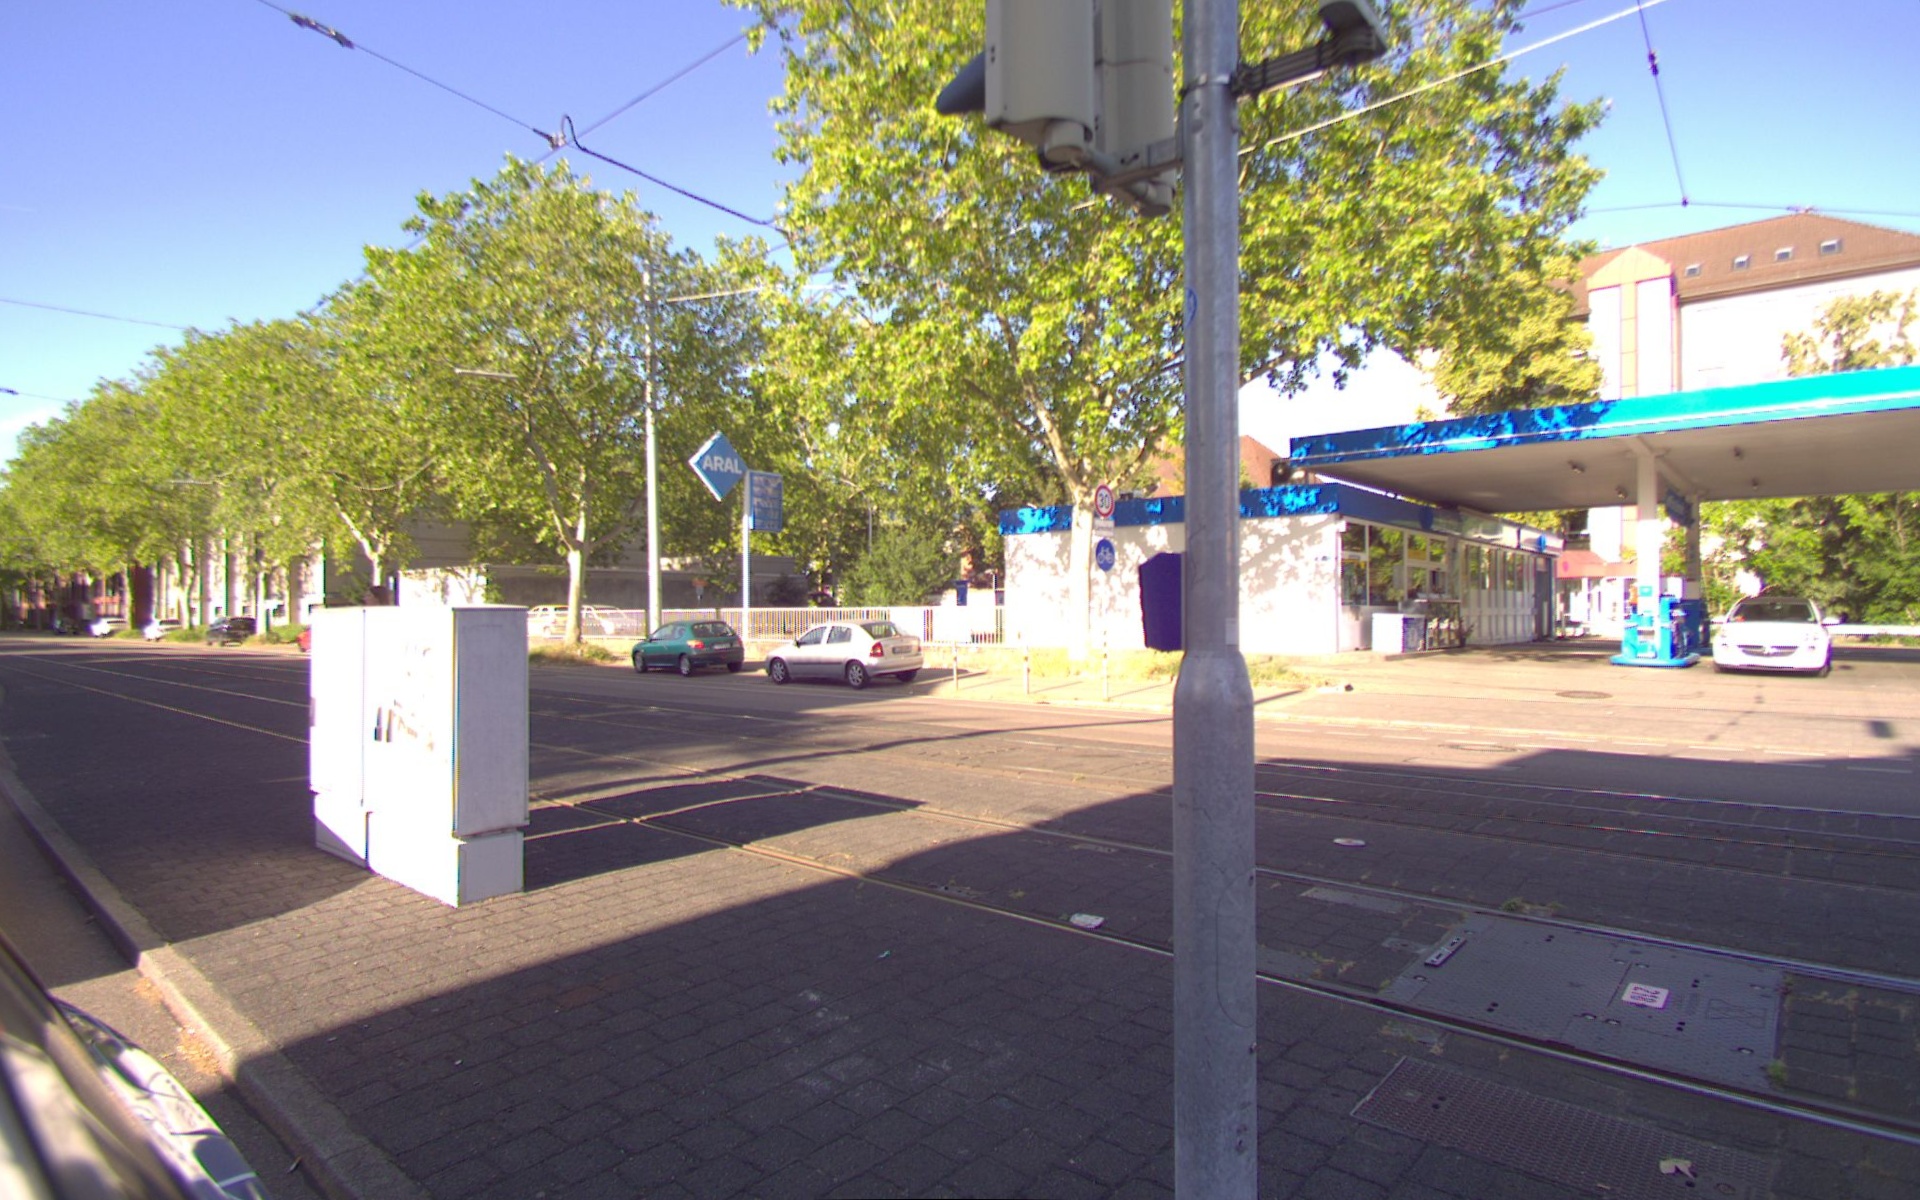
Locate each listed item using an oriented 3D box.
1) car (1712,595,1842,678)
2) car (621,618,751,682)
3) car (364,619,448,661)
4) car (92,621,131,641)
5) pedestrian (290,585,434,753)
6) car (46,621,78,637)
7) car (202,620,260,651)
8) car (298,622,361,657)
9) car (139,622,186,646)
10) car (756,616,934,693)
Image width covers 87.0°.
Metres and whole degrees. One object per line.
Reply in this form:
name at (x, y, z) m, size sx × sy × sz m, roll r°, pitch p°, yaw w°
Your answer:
car at (16.026, 0.678, 19.904) m, size 1.812 × 1.453 × 3.947 m, roll -1°, pitch -1°, yaw 39°
car at (-7.330, 1.277, 26.927) m, size 3.519 × 1.475 × 1.670 m, roll -1°, pitch 2°, yaw 43°
car at (-21.944, 1.551, 40.046) m, size 3.652 × 1.541 × 1.802 m, roll -1°, pitch -1°, yaw 41°
car at (-66.689, 2.401, 79.521) m, size 3.998 × 1.525 × 1.779 m, roll -1°, pitch -1°, yaw 41°
pedestrian at (-6.183, 0.690, 10.494) m, size 1.086 × 1.674 × 0.693 m, roll -1°, pitch 0°, yaw 9°
car at (-85.330, 2.730, 96.108) m, size 3.998 × 1.525 × 1.779 m, roll -1°, pitch -1°, yaw 41°
car at (-40.758, 1.953, 56.583) m, size 3.998 × 1.674 × 1.779 m, roll -1°, pitch -1°, yaw 41°
car at (-28.558, 1.751, 45.793) m, size 3.045 × 1.519 × 1.620 m, roll -1°, pitch -1°, yaw 41°
car at (-53.725, 2.265, 68.156) m, size 3.998 × 1.509 × 1.779 m, roll -1°, pitch -1°, yaw 41°
car at (-2.631, 1.159, 22.658) m, size 3.965 × 1.475 × 1.771 m, roll -1°, pitch 2°, yaw 43°
